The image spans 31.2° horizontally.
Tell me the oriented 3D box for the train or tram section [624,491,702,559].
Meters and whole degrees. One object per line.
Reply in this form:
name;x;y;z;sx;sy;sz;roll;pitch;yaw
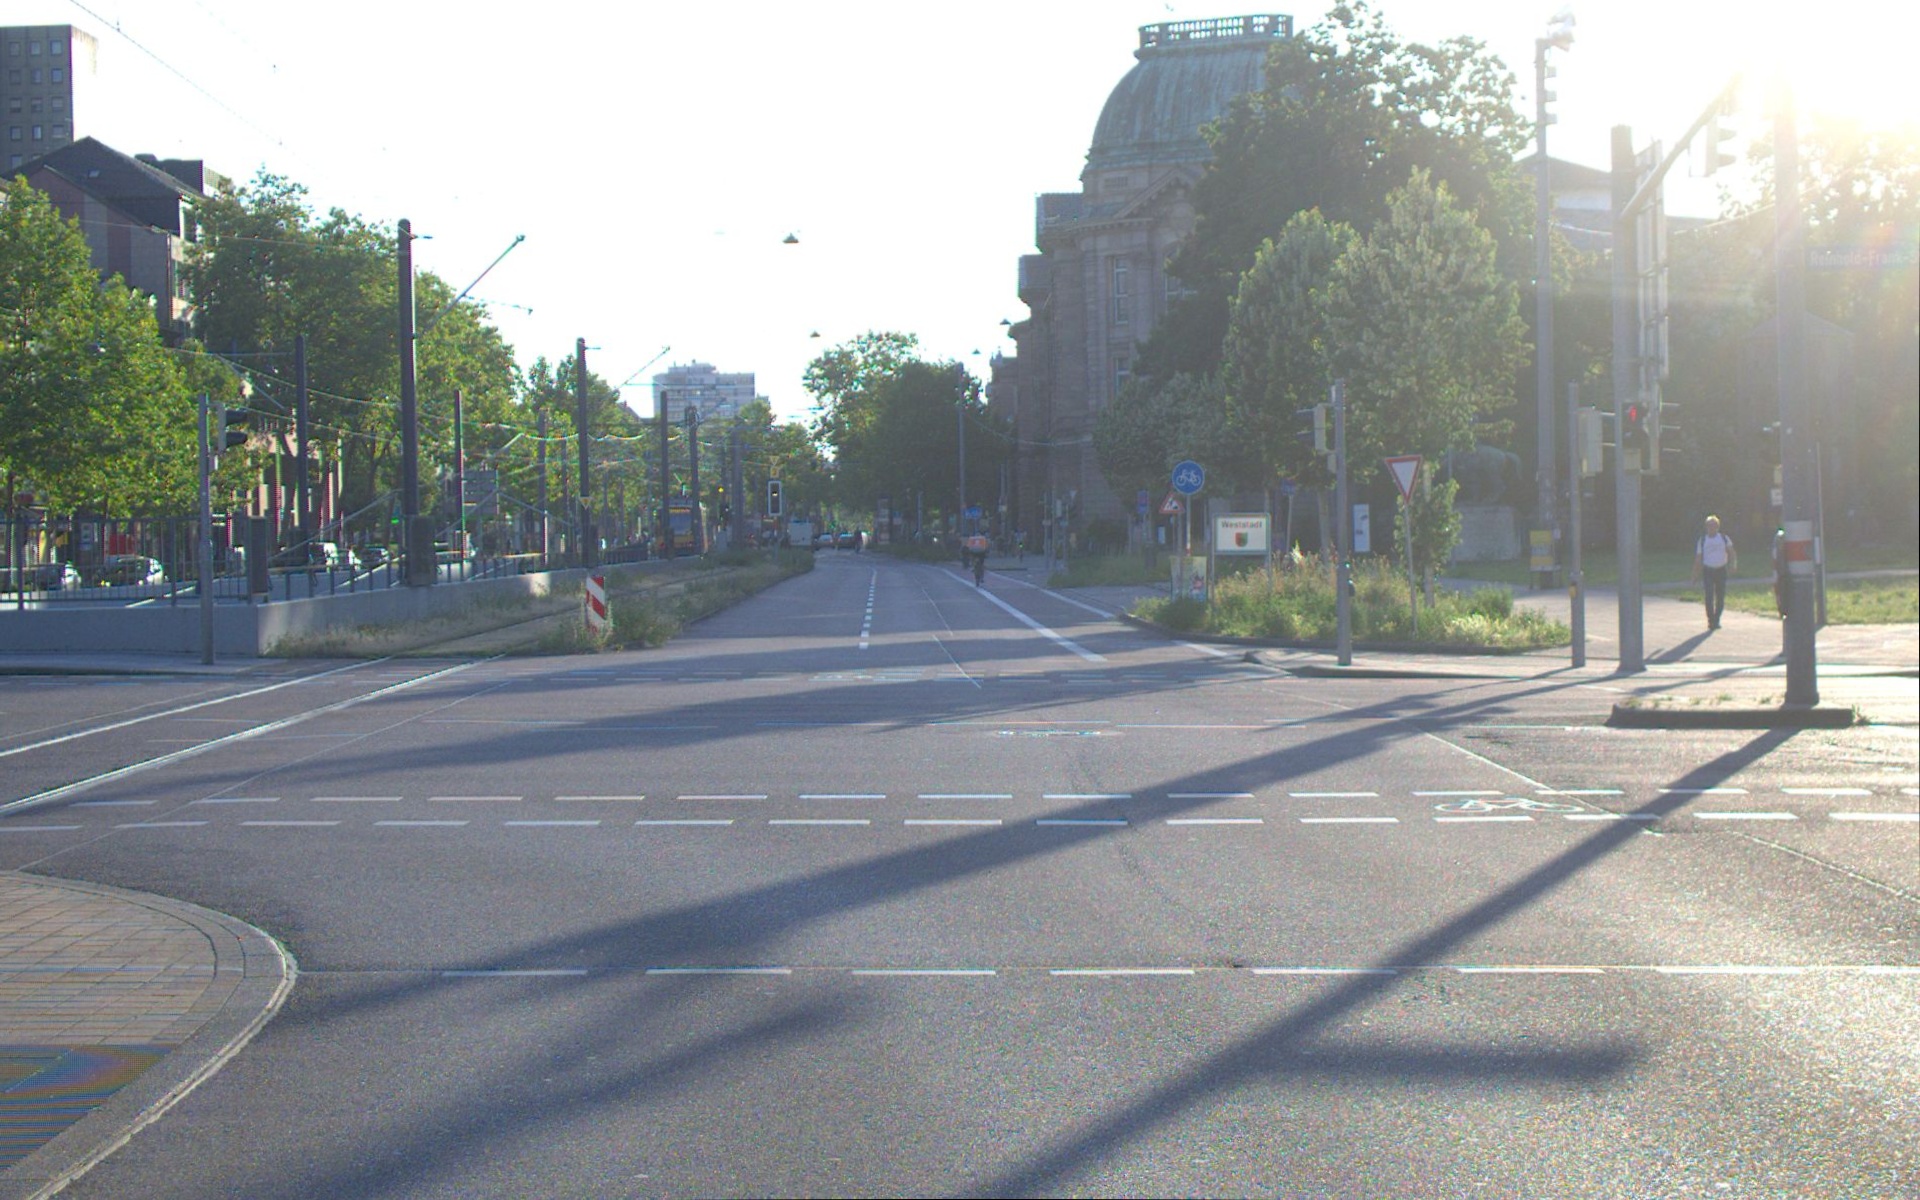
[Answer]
train or tram section;-17.527;-4.443;203.342;4.385;3.837;11.412;-1;1;-5

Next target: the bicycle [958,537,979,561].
bicycle;0.407;-2.368;159.763;0.924;1.108;2.333;-1;1;-1

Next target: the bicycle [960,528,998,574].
bicycle;0.583;-1.510;105.623;1.098;1.394;2.832;-1;1;-1

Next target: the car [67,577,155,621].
car;-29.235;-0.046;118.523;1.819;1.415;4.000;-1;1;3

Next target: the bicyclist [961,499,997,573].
bicyclist;0.574;-1.971;105.571;1.082;2.268;0.986;0;1;-1

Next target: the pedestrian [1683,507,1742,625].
pedestrian;11.588;-0.528;52.956;0.833;1.797;0.810;-1;1;15

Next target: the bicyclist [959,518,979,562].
bicyclist;0.410;-2.784;159.660;0.925;2.007;0.850;-1;1;-1
